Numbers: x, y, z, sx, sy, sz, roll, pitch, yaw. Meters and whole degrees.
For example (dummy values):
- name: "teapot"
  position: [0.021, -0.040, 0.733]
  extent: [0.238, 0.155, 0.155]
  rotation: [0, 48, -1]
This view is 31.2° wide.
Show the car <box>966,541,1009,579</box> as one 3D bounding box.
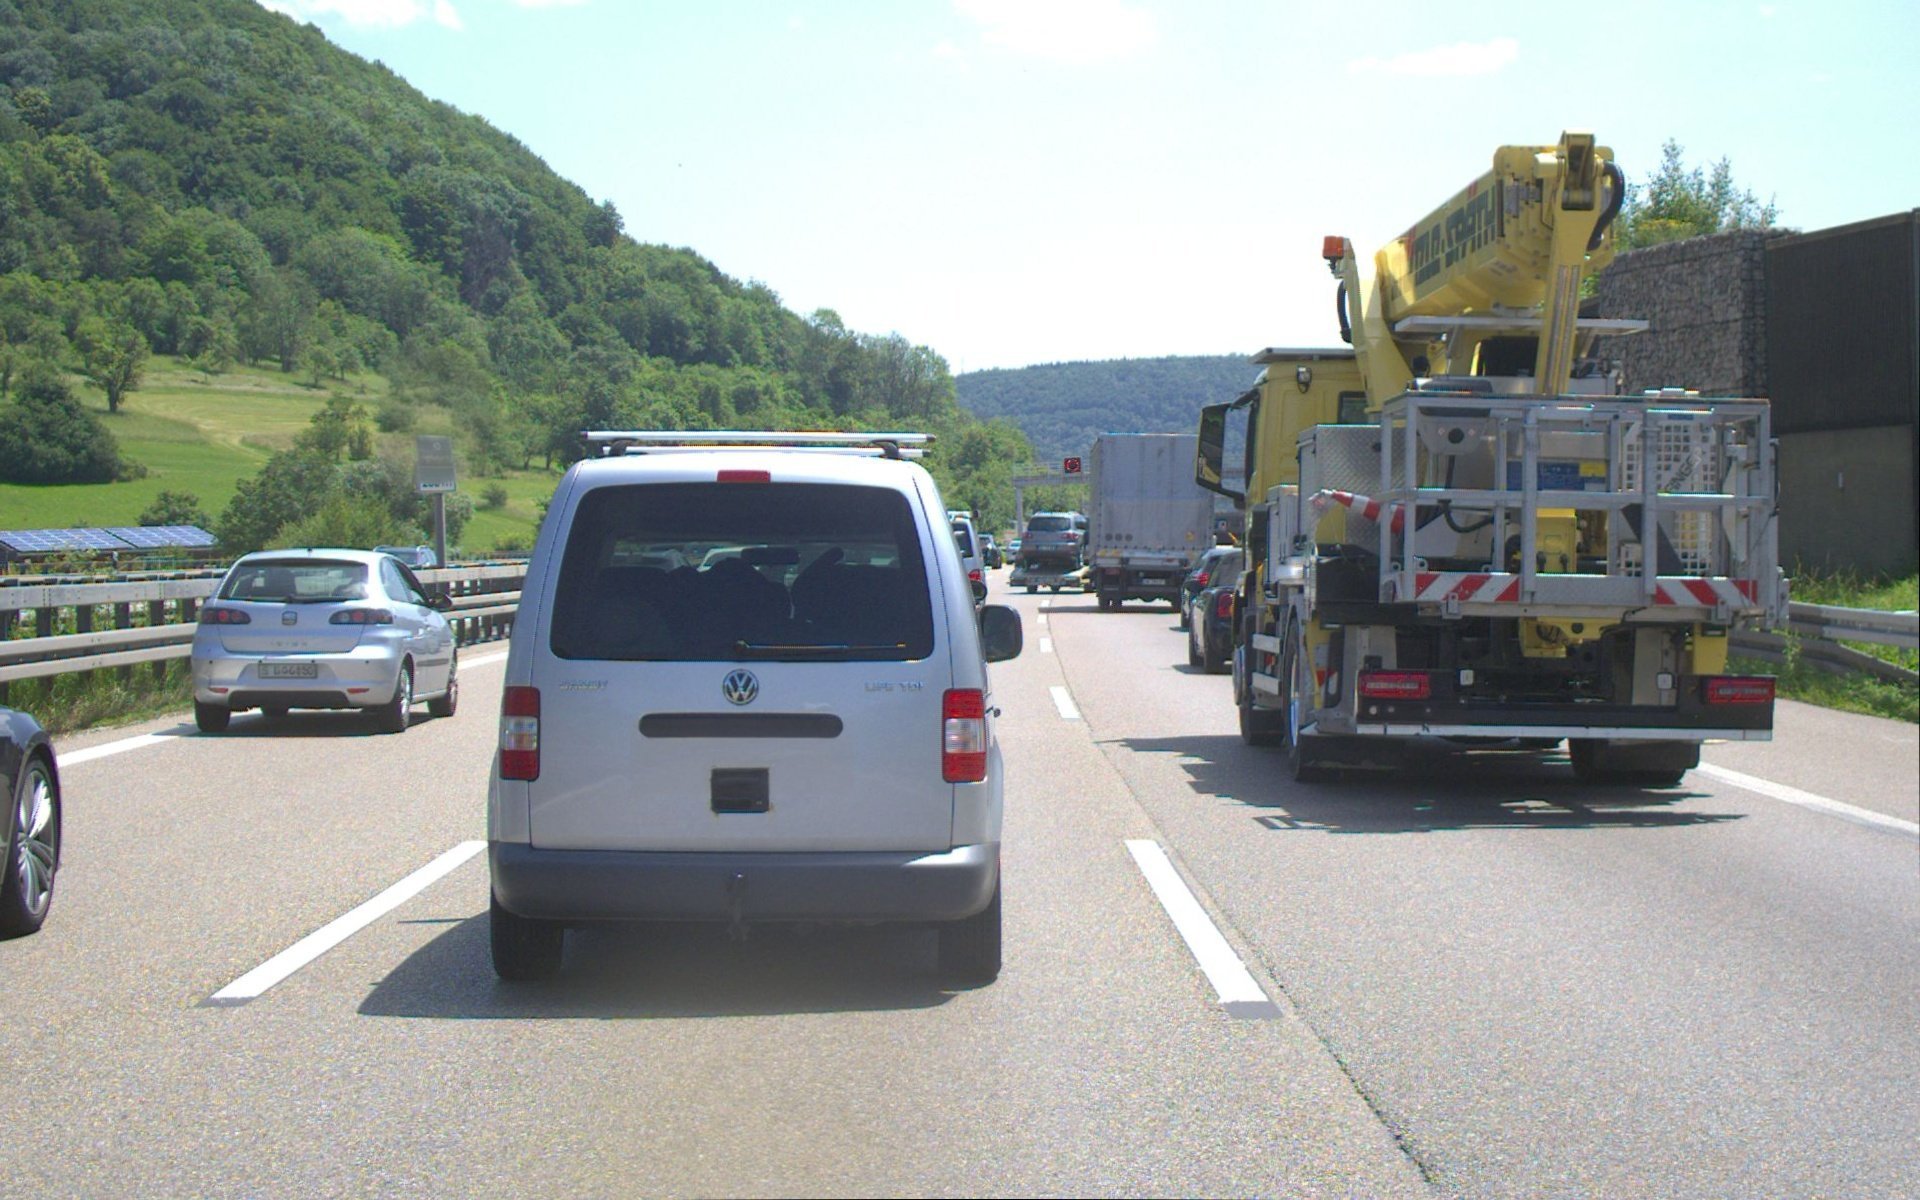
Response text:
- name: "car"
  position: [1.325, -1.924, 167.576]
  extent: [1.993, 1.799, 4.000]
  rotation: [1, 1, 0]

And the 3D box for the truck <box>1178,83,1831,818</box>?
- name: "truck"
  position: [3.194, -0.881, 22.780]
  extent: [2.703, 3.929, 8.723]
  rotation: [0, 1, -2]

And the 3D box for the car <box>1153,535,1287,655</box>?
- name: "car"
  position: [4.464, -0.118, 59.562]
  extent: [1.993, 2.007, 4.000]
  rotation: [0, 1, 0]

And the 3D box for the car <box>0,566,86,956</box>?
- name: "car"
  position: [-4.316, 0.607, 11.099]
  extent: [1.800, 1.385, 4.970]
  rotation: [0, 1, -1]

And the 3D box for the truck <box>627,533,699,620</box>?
- name: "truck"
  position: [-14.880, -1.195, 172.801]
  extent: [2.798, 4.217, 7.231]
  rotation: [1, 1, 1]

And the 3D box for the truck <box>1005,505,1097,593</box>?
- name: "truck"
  position: [2.747, -1.523, 102.388]
  extent: [2.390, 2.532, 5.938]
  rotation: [0, 1, 5]

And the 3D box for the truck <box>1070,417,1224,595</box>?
- name: "truck"
  position: [4.159, -2.064, 78.127]
  extent: [2.940, 3.810, 8.237]
  rotation: [1, 1, 0]

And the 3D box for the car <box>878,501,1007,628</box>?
- name: "car"
  position: [-0.319, -0.593, 55.641]
  extent: [1.993, 1.969, 4.000]
  rotation: [0, 1, -2]

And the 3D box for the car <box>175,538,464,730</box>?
- name: "car"
  position: [-5.107, 0.224, 27.866]
  extent: [1.695, 1.440, 3.862]
  rotation: [0, 1, -1]

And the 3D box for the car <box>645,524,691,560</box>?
- name: "car"
  position: [-13.056, -2.590, 153.844]
  extent: [1.849, 1.604, 4.079]
  rotation: [0, 1, -2]

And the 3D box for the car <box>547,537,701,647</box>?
- name: "car"
  position: [-4.779, -0.152, 49.395]
  extent: [1.924, 1.494, 4.000]
  rotation: [1, 1, -2]

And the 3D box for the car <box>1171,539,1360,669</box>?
- name: "car"
  position: [3.543, 0.010, 40.471]
  extent: [1.786, 1.453, 3.771]
  rotation: [0, 1, -2]

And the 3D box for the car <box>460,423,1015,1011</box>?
- name: "car"
  position: [-0.761, 0.332, 12.910]
  extent: [1.756, 1.861, 4.000]
  rotation: [0, 1, -2]
